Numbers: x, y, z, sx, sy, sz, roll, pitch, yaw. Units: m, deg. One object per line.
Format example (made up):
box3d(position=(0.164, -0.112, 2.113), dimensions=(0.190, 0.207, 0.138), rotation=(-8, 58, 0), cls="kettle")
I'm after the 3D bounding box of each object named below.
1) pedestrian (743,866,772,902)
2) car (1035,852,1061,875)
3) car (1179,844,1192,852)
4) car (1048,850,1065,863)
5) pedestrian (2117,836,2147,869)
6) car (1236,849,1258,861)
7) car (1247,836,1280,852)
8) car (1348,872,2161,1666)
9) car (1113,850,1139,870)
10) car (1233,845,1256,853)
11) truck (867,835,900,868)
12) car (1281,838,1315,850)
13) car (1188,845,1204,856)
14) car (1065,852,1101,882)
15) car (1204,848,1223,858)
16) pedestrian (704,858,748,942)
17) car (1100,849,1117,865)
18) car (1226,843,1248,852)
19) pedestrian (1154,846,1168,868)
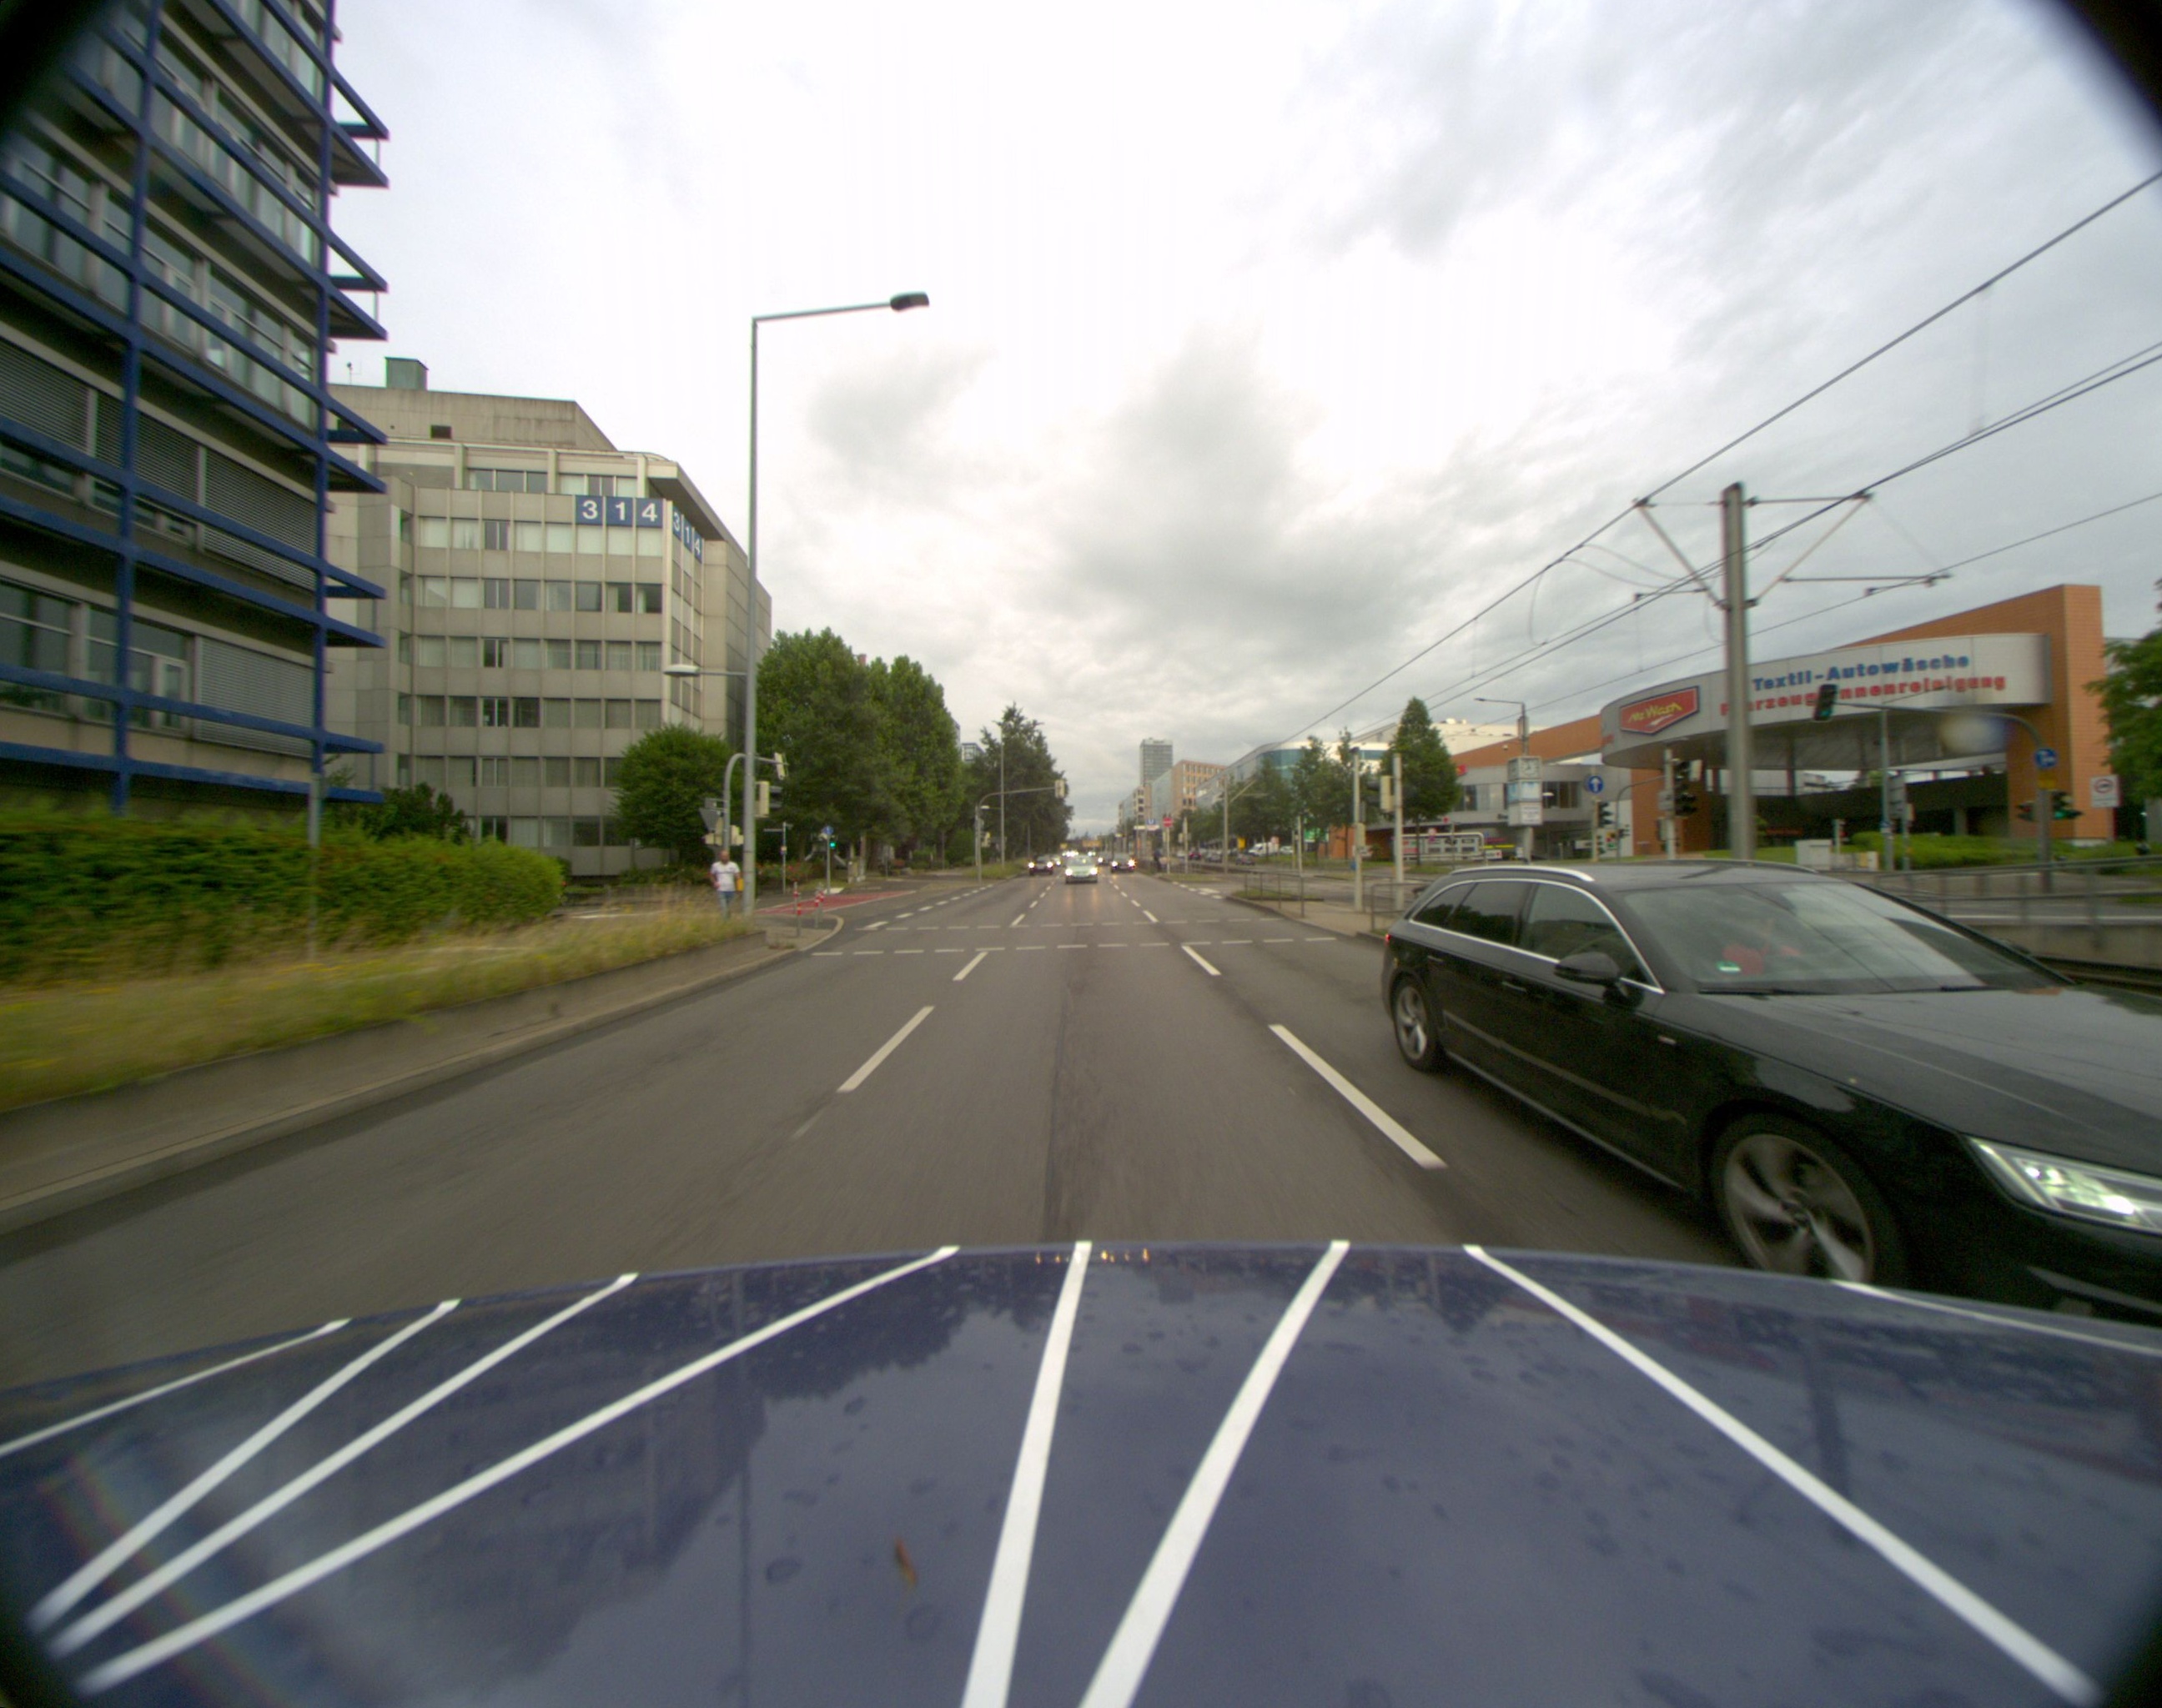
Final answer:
box3d(position=(-14.021, 1.287, 32.936), dimensions=(0.901, 1.532, 0.801), rotation=(0, 1, 39), cls="pedestrian")
box3d(position=(-2.600, 0.700, 60.339), dimensions=(1.816, 1.660, 4.548), rotation=(-2, 0, 0), cls="car")
box3d(position=(22.731, -1.318, 165.192), dimensions=(1.999, 1.509, 4.705), rotation=(-3, 1, -2), cls="car")
box3d(position=(-2.917, 0.258, 92.660), dimensions=(1.873, 1.533, 4.106), rotation=(-2, 0, 0), cls="car")
box3d(position=(64.862, -0.092, 46.905), dimensions=(0.886, 2.018, 0.777), rotation=(-1, 1, -10), cls="pedestrian")
box3d(position=(20.153, 0.111, 92.266), dimensions=(1.733, 1.415, 3.779), rotation=(-1, 1, 0), cls="car")
box3d(position=(33.840, -1.854, 140.673), dimensions=(5.488, 2.614, 2.275), rotation=(-3, 1, -17), cls="car")
box3d(position=(3.068, 0.895, 3.711), dimensions=(1.795, 1.426, 4.828), rotation=(-2, 0, 0), cls="car")
box3d(position=(3.436, 0.431, 58.919), dimensions=(1.798, 1.493, 4.000), rotation=(-2, 0, 1), cls="car")
box3d(position=(32.408, -1.000, 150.429), dimensions=(4.000, 1.499, 1.895), rotation=(-3, 1, -8), cls="car")
box3d(position=(-15.864, -0.252, 61.190), dimensions=(1.751, 2.503, 3.998), rotation=(-3, 1, -3), cls="truck")
box3d(position=(40.300, -1.911, 141.211), dimensions=(5.483, 1.915, 2.277), rotation=(-3, 1, -6), cls="car")
box3d(position=(19.005, -0.650, 126.146), dimensions=(1.998, 1.764, 4.388), rotation=(-1, 1, 0), cls="car")
box3d(position=(0.109, 0.667, 42.070), dimensions=(1.804, 1.533, 4.374), rotation=(-2, 0, 0), cls="car")
box3d(position=(19.089, -0.186, 109.896), dimensions=(1.858, 1.419, 4.387), rotation=(0, 1, -2), cls="car")
box3d(position=(-7.204, 0.919, 15.447), dimensions=(0.556, 1.643, 0.831), rotation=(-1, 1, -9), cls="pedestrian")
box3d(position=(3.136, 0.313, 87.292), dimensions=(1.781, 1.670, 4.130), rotation=(-2, 0, 0), cls="car")
box3d(position=(32.502, -1.339, 158.114), dimensions=(3.999, 1.652, 1.921), rotation=(-4, 1, -7), cls="car")
box3d(position=(6.049, 0.244, 57.504), dimensions=(0.704, 1.641, 0.648), rotation=(-2, 1, -28), cls="pedestrian")
